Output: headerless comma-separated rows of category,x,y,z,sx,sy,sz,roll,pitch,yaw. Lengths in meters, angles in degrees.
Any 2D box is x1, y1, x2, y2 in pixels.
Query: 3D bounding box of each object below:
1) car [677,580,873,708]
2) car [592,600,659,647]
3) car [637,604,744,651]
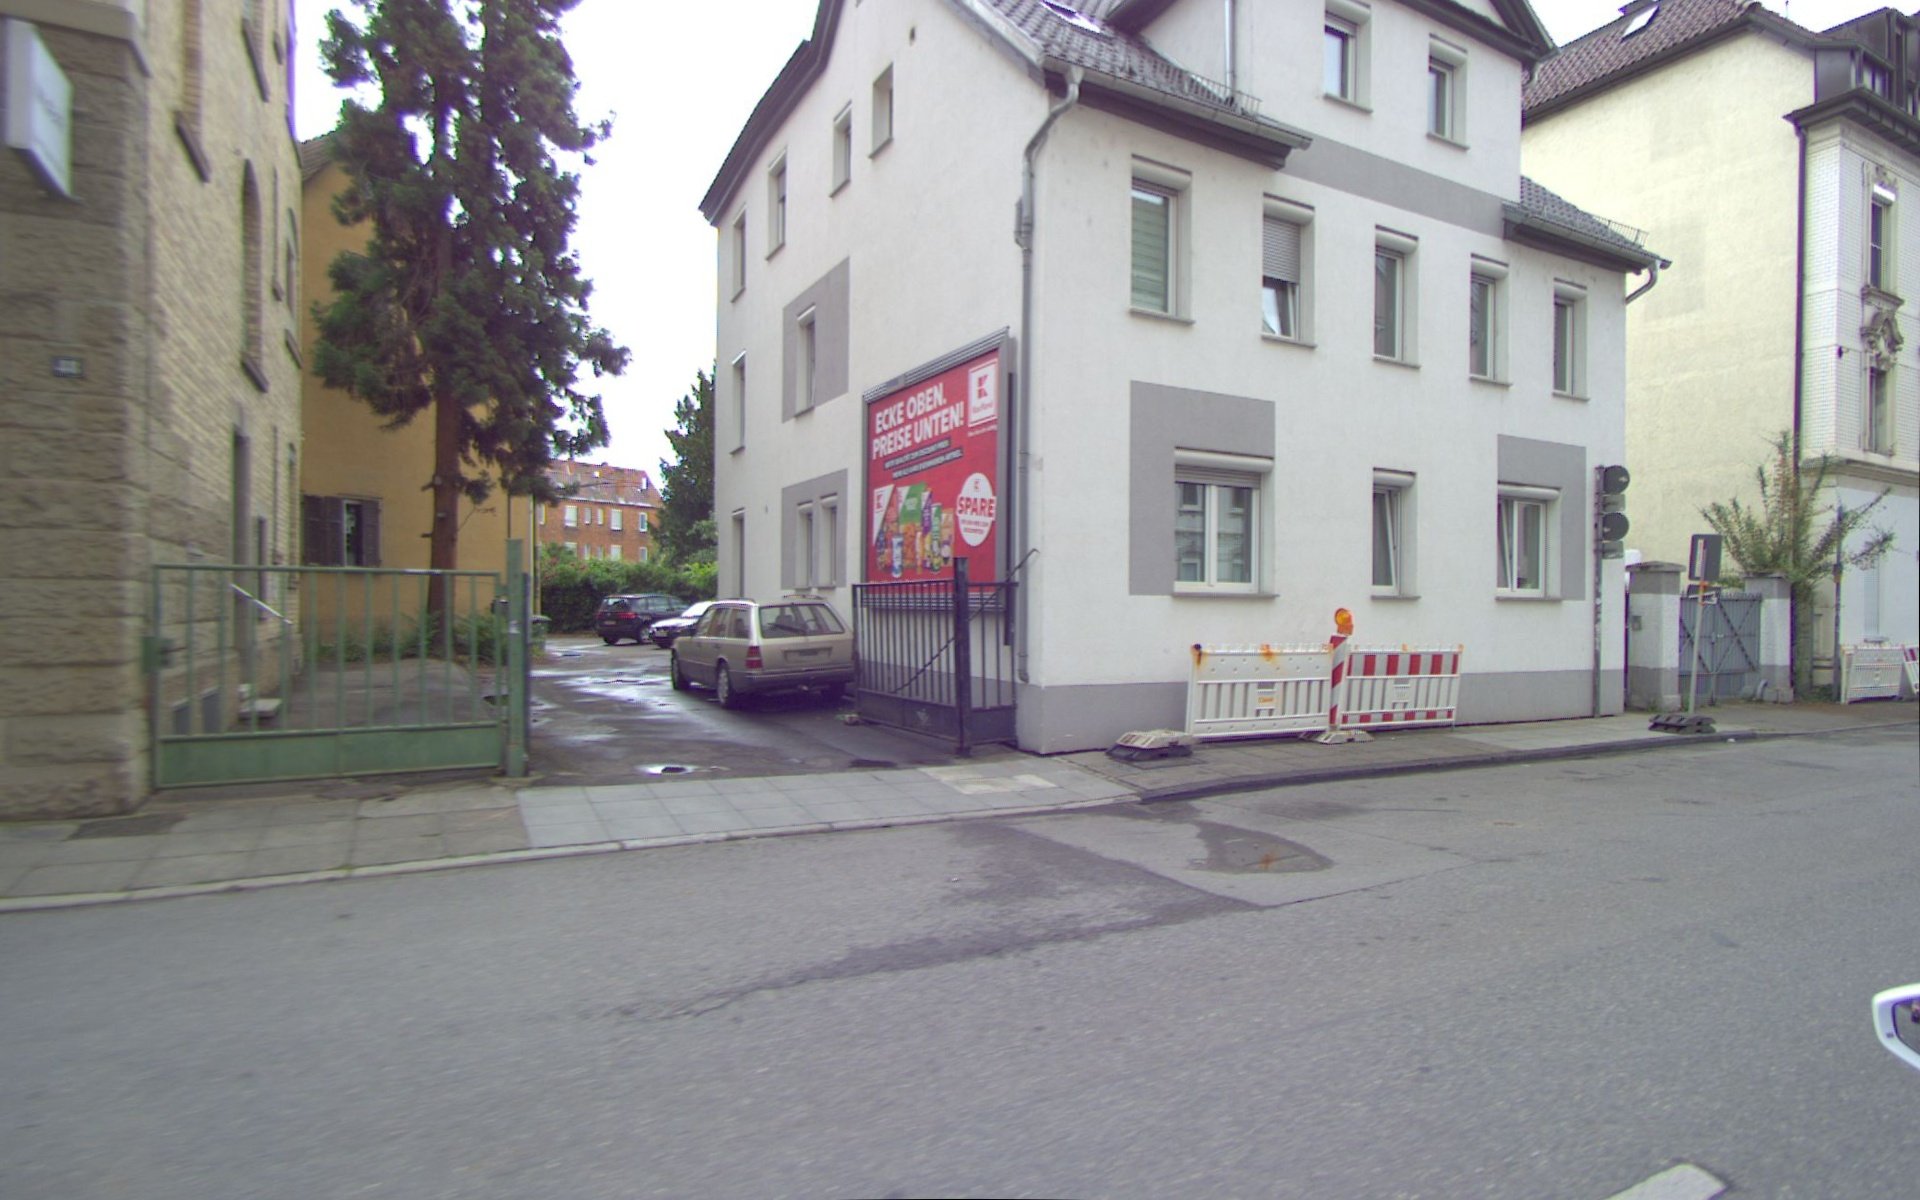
car,-2.826,0.534,14.653,1.775,1.592,3.900,1,0,-27
car,-11.359,0.772,33.974,1.704,1.478,3.400,1,0,-26
car,-8.316,0.814,31.317,1.685,1.306,3.724,1,1,12
